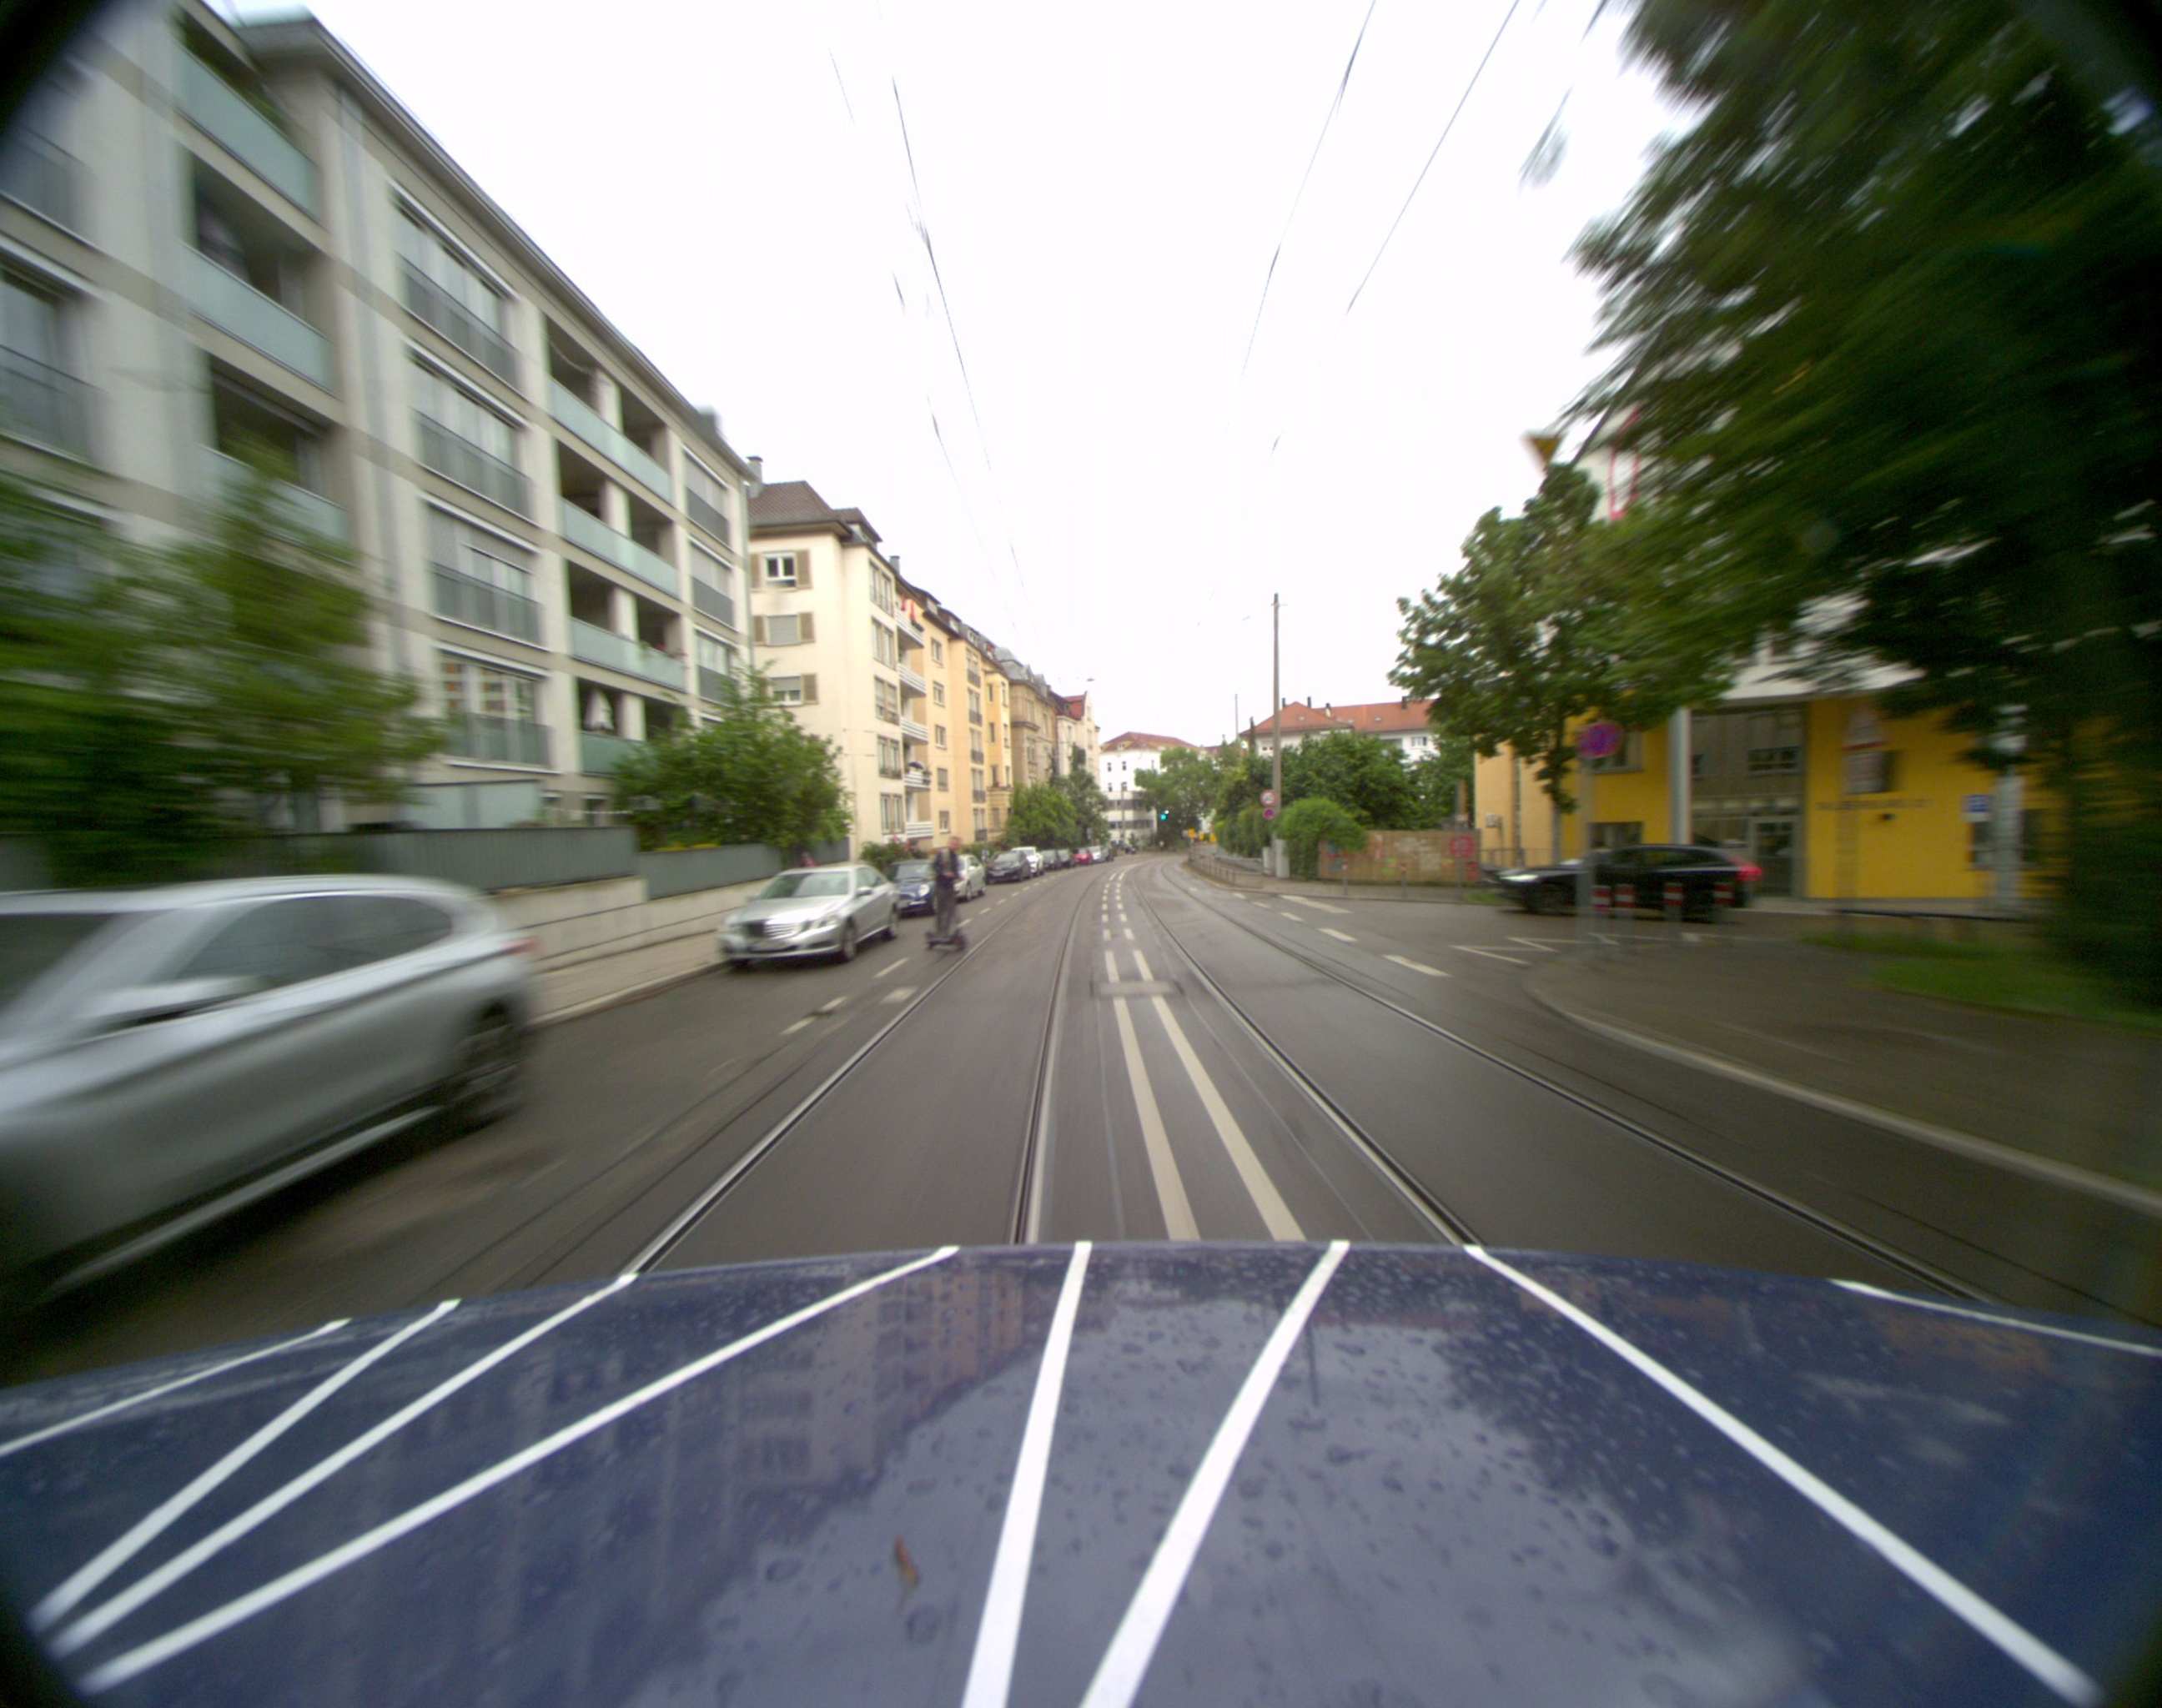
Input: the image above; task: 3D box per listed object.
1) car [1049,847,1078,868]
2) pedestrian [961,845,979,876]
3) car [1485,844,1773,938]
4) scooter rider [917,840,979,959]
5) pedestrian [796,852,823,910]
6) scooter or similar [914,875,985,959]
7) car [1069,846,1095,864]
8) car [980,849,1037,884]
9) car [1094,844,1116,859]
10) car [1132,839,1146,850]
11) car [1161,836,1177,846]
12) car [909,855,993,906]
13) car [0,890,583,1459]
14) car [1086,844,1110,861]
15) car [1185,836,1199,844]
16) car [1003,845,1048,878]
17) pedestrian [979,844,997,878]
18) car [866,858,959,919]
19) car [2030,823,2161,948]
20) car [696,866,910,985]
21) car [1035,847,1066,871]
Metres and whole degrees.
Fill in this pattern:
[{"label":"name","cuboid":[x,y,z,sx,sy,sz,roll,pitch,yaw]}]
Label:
[{"label":"car","cuboid":[-1.265,0.213,55.373,1.658,1.360,3.636,-3,1,5]},{"label":"pedestrian","cuboid":[-5.696,0.326,39.073,0.667,1.560,0.915,1,1,7]},{"label":"car","cuboid":[11.941,0.717,17.033,4.760,1.668,2.074,3,3,19]},{"label":"scooter rider","cuboid":[-2.168,0.721,12.384,0.646,1.847,0.688,-4,2,-38]},{"label":"pedestrian","cuboid":[-7.560,0.744,21.133,0.583,1.577,0.568,-1,1,-31]},{"label":"scooter or similar","cuboid":[-2.155,1.000,12.391,0.646,1.254,1.087,-4,2,-38]},{"label":"car","cuboid":[0.121,0.042,62.833,1.556,1.360,3.126,-3,1,10]},{"label":"car","cuboid":[-3.367,0.535,36.013,1.798,1.444,4.104,-3,1,6]},{"label":"car","cuboid":[2.416,-0.277,76.160,1.613,1.434,3.690,-3,1,10]},{"label":"car","cuboid":[8.730,-1.445,114.285,1.613,1.434,3.690,-3,1,10]},{"label":"car","cuboid":[14.101,-2.076,121.377,1.796,1.502,4.004,-1,2,17]},{"label":"car","cuboid":[-4.169,0.807,25.080,1.722,1.458,4.391,-2,0,3]},{"label":"car","cuboid":[-4.413,1.083,3.232,1.981,1.575,4.563,-2,0,-7]},{"label":"car","cuboid":[1.644,-0.182,71.601,1.613,1.434,3.690,-3,1,10]},{"label":"car","cuboid":[20.585,-2.628,140.902,1.796,1.502,4.004,-1,2,17]},{"label":"car","cuboid":[-2.926,0.368,40.863,1.798,1.612,3.868,-3,1,3]},{"label":"pedestrian","cuboid":[-4.731,0.340,38.668,0.717,1.703,0.665,1,1,7]},{"label":"car","cuboid":[-4.393,0.852,20.295,1.600,1.416,3.515,-2,0,1]},{"label":"car","cuboid":[24.123,0.727,15.787,5.060,2.515,2.002,3,3,19]},{"label":"car","cuboid":[-4.410,1.032,12.979,1.863,1.506,4.788,-2,0,-1]},{"label":"car","cuboid":[-1.992,0.286,50.123,1.590,1.434,3.476,-3,1,4]}]
